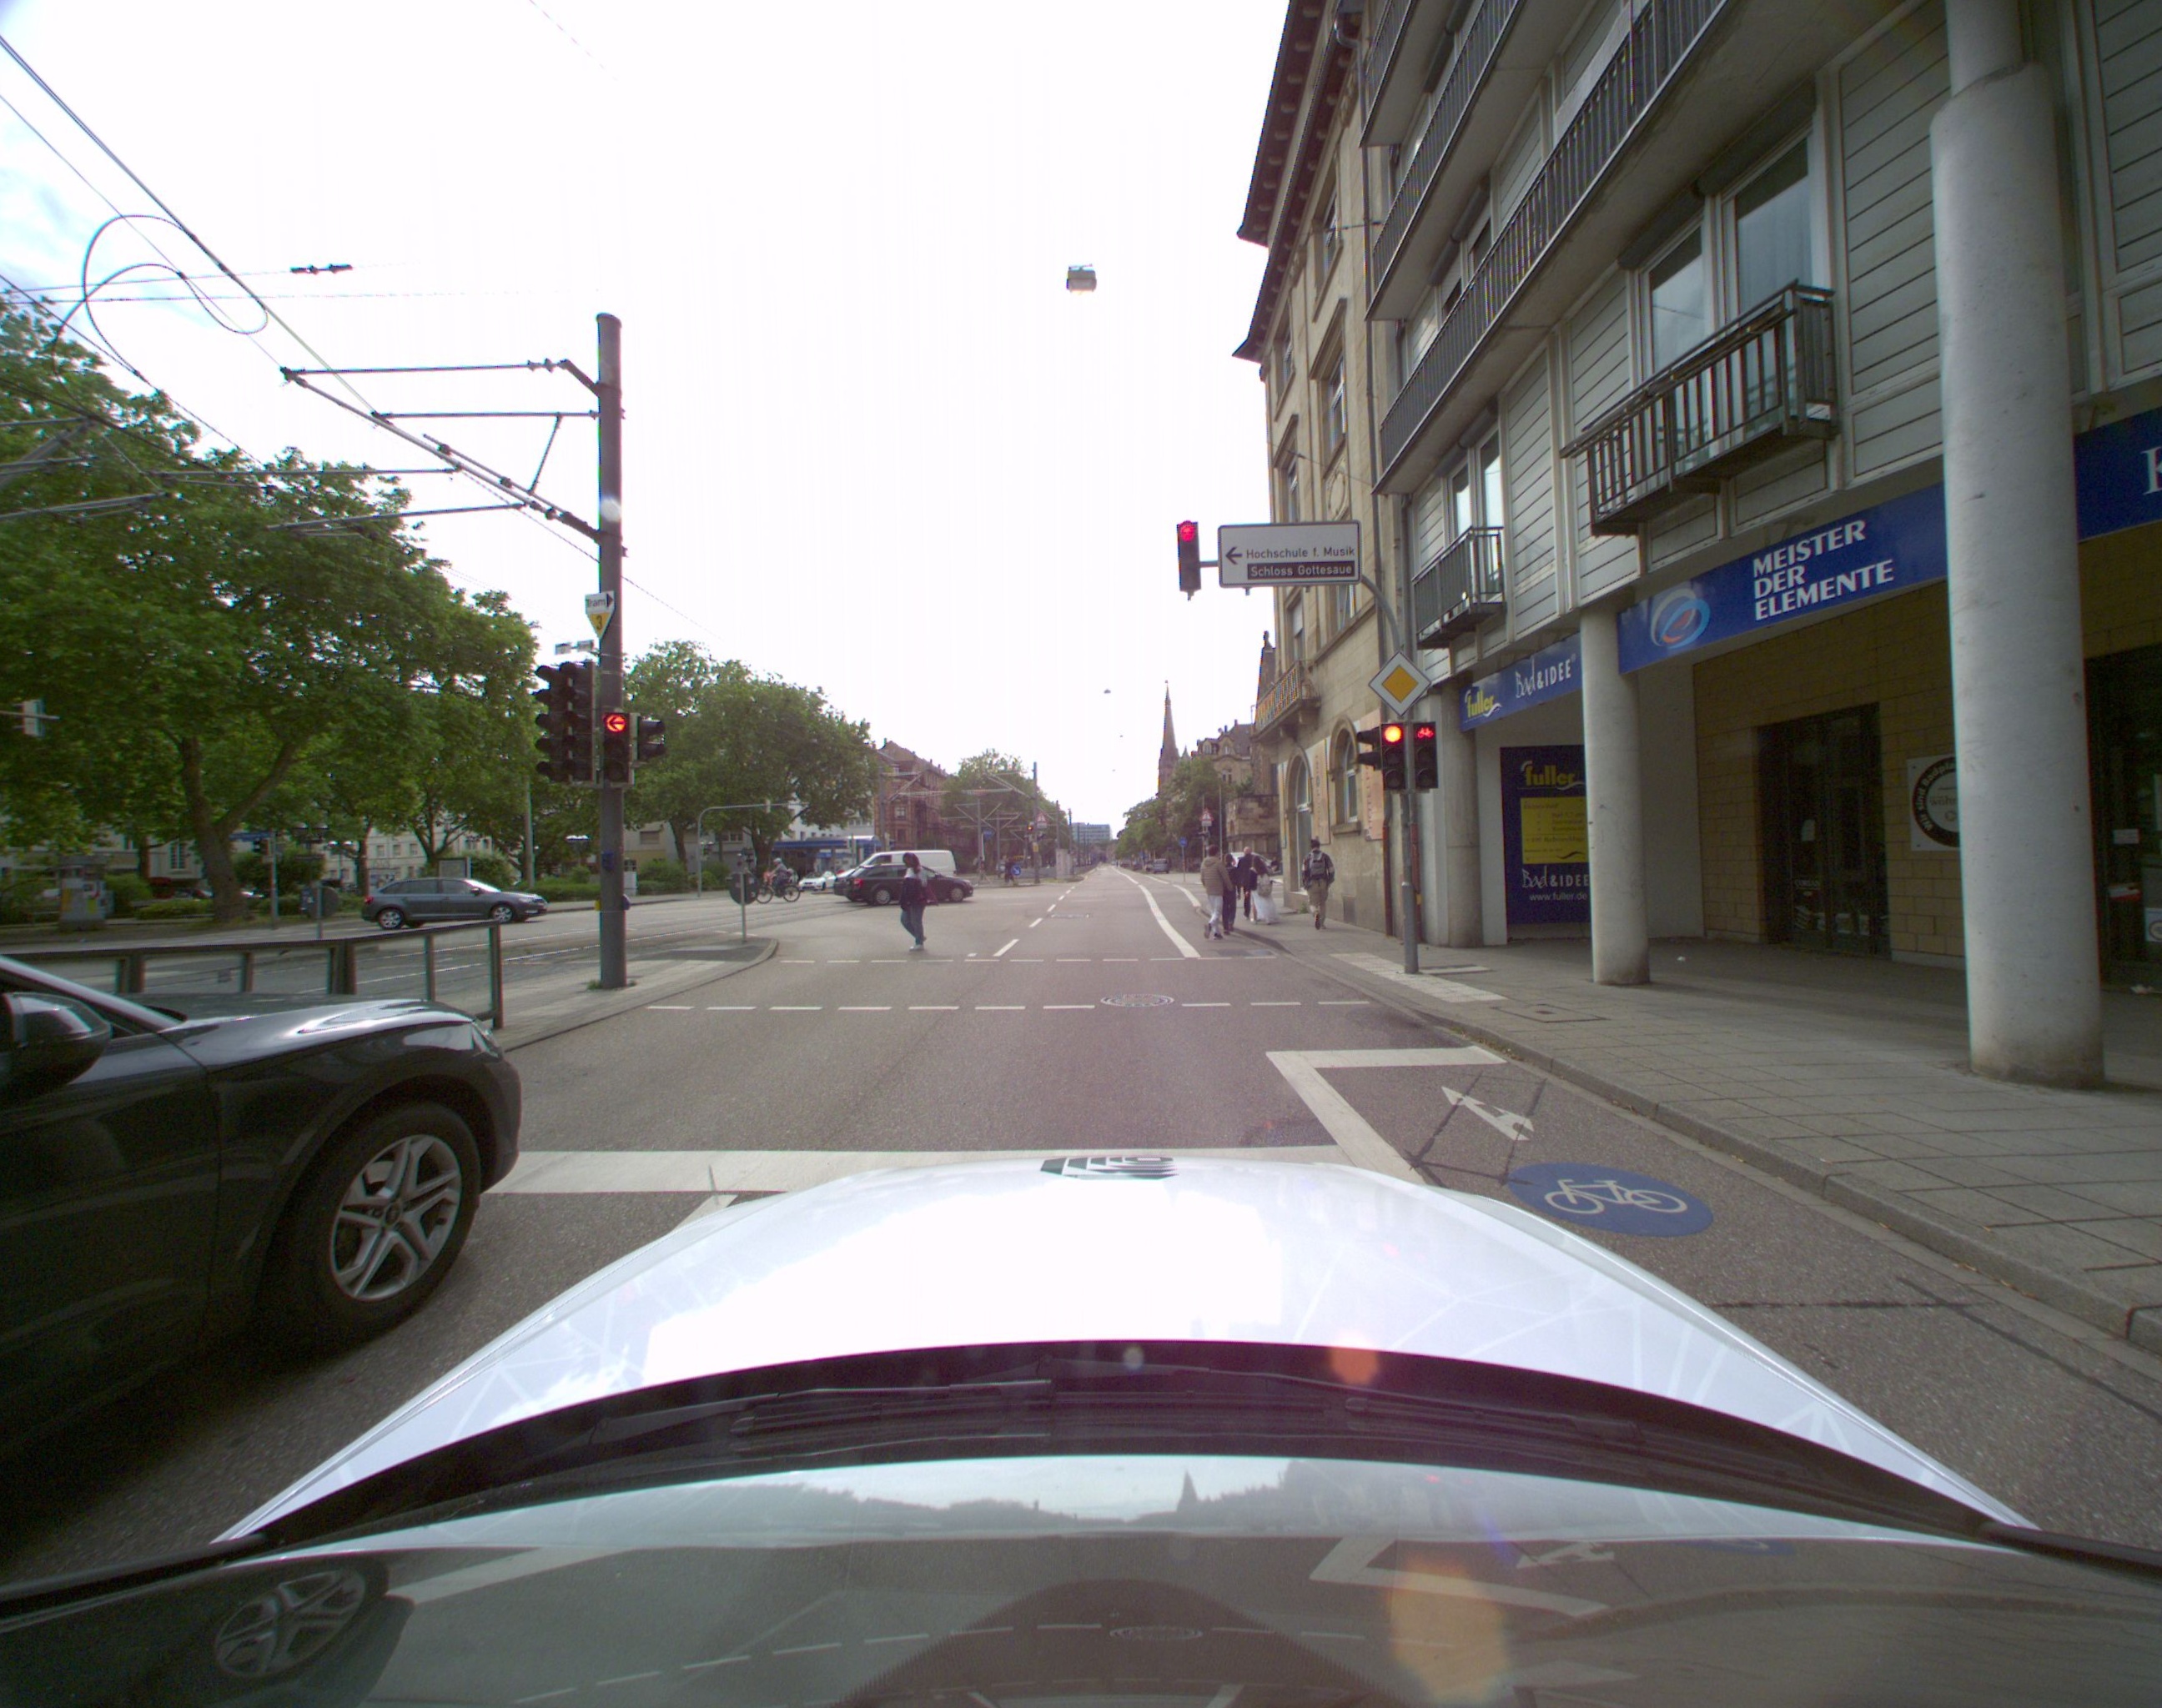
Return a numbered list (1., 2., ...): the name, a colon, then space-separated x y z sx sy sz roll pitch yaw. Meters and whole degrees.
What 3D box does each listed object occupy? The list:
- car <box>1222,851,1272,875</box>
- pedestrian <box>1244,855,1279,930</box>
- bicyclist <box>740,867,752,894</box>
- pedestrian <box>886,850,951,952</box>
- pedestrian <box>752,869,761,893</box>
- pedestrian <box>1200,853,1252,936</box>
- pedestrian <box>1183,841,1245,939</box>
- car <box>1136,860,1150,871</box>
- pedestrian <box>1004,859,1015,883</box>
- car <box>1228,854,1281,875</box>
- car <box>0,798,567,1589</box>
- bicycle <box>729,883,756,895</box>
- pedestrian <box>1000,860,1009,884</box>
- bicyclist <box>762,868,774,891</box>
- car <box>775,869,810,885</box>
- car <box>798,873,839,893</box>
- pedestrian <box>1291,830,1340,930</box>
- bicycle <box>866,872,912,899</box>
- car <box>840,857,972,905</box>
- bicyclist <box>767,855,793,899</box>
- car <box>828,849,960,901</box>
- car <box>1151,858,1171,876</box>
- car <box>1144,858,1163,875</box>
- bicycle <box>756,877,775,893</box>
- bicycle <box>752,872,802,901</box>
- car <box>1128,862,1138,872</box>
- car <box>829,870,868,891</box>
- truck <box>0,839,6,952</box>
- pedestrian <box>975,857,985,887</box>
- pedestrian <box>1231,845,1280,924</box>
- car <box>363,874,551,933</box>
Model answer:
1. car: 13.868 0.767 68.149 3.785 1.904 2.001 0 -1 1
2. pedestrian: 3.923 0.817 17.778 0.696 1.593 0.833 0 -1 10
3. bicyclist: -22.674 1.789 55.140 0.528 1.784 0.472 -1 -1 21
4. pedestrian: -2.783 0.774 13.951 0.663 1.680 0.874 -1 -1 40
5. pedestrian: -24.749 2.061 62.070 0.371 1.784 0.555 -1 -1 26
6. pedestrian: 2.966 0.804 16.647 0.620 1.653 1.003 -1 -1 39
7. pedestrian: 2.547 0.673 15.580 1.015 1.813 0.580 0 -1 -22
8. car: 9.733 1.796 128.446 1.986 1.607 4.165 -3 -1 1
9. pedestrian: -4.533 1.086 51.833 0.651 1.537 0.465 0 -1 -3
10. car: 13.757 0.833 64.738 3.785 1.601 2.001 0 -1 1
11. car: -3.142 0.697 1.244 1.873 1.601 4.358 -1 -1 1
12. bicycle: -22.916 2.365 55.094 1.665 0.773 0.659 -1 -1 22
13. pedestrian: -4.904 1.162 52.382 0.544 1.537 0.465 0 -1 -3
14. bicyclist: -21.510 1.764 55.988 0.585 1.568 0.619 0 -1 1
15. car: -28.739 2.267 81.332 1.986 1.530 4.001 0 -1 2
16. car: -19.141 2.080 59.537 1.628 1.325 4.001 0 -1 2
17. pedestrian: 4.427 0.487 15.432 0.622 1.778 1.137 -4 -2 9
18. bicycle: -8.498 1.392 36.039 1.943 1.136 0.731 0 -1 -19
19. car: -6.272 0.928 29.304 4.352 1.586 1.795 0 -1 -29
20. bicyclist: -12.600 0.939 34.137 0.970 1.819 0.527 0 -1 -27
21. car: -7.482 0.795 32.618 4.886 1.967 1.973 0 -1 -24
22. car: 8.817 1.416 90.074 1.986 2.014 4.001 0 -1 1
23. car: 8.834 1.530 99.636 1.986 2.014 4.001 0 -1 1
24. bicycle: -21.578 2.126 55.757 0.520 1.017 1.937 0 -1 2
25. bicycle: -12.709 1.340 34.033 1.910 1.142 0.623 0 -1 -28
26. car: 10.976 2.685 172.345 1.986 2.014 4.001 0 -1 2
27. car: -18.808 2.119 66.016 1.887 1.557 3.837 0 -1 2
28. truck: -32.661 1.125 18.438 10.181 2.941 2.619 -1 -1 -20
29. pedestrian: -6.176 1.108 49.824 0.571 1.794 0.518 0 -1 -3
30. pedestrian: 4.063 0.699 19.011 0.906 1.784 0.651 -1 -1 39
31. car: -18.071 1.389 23.820 3.997 1.469 1.827 -1 0 -23
